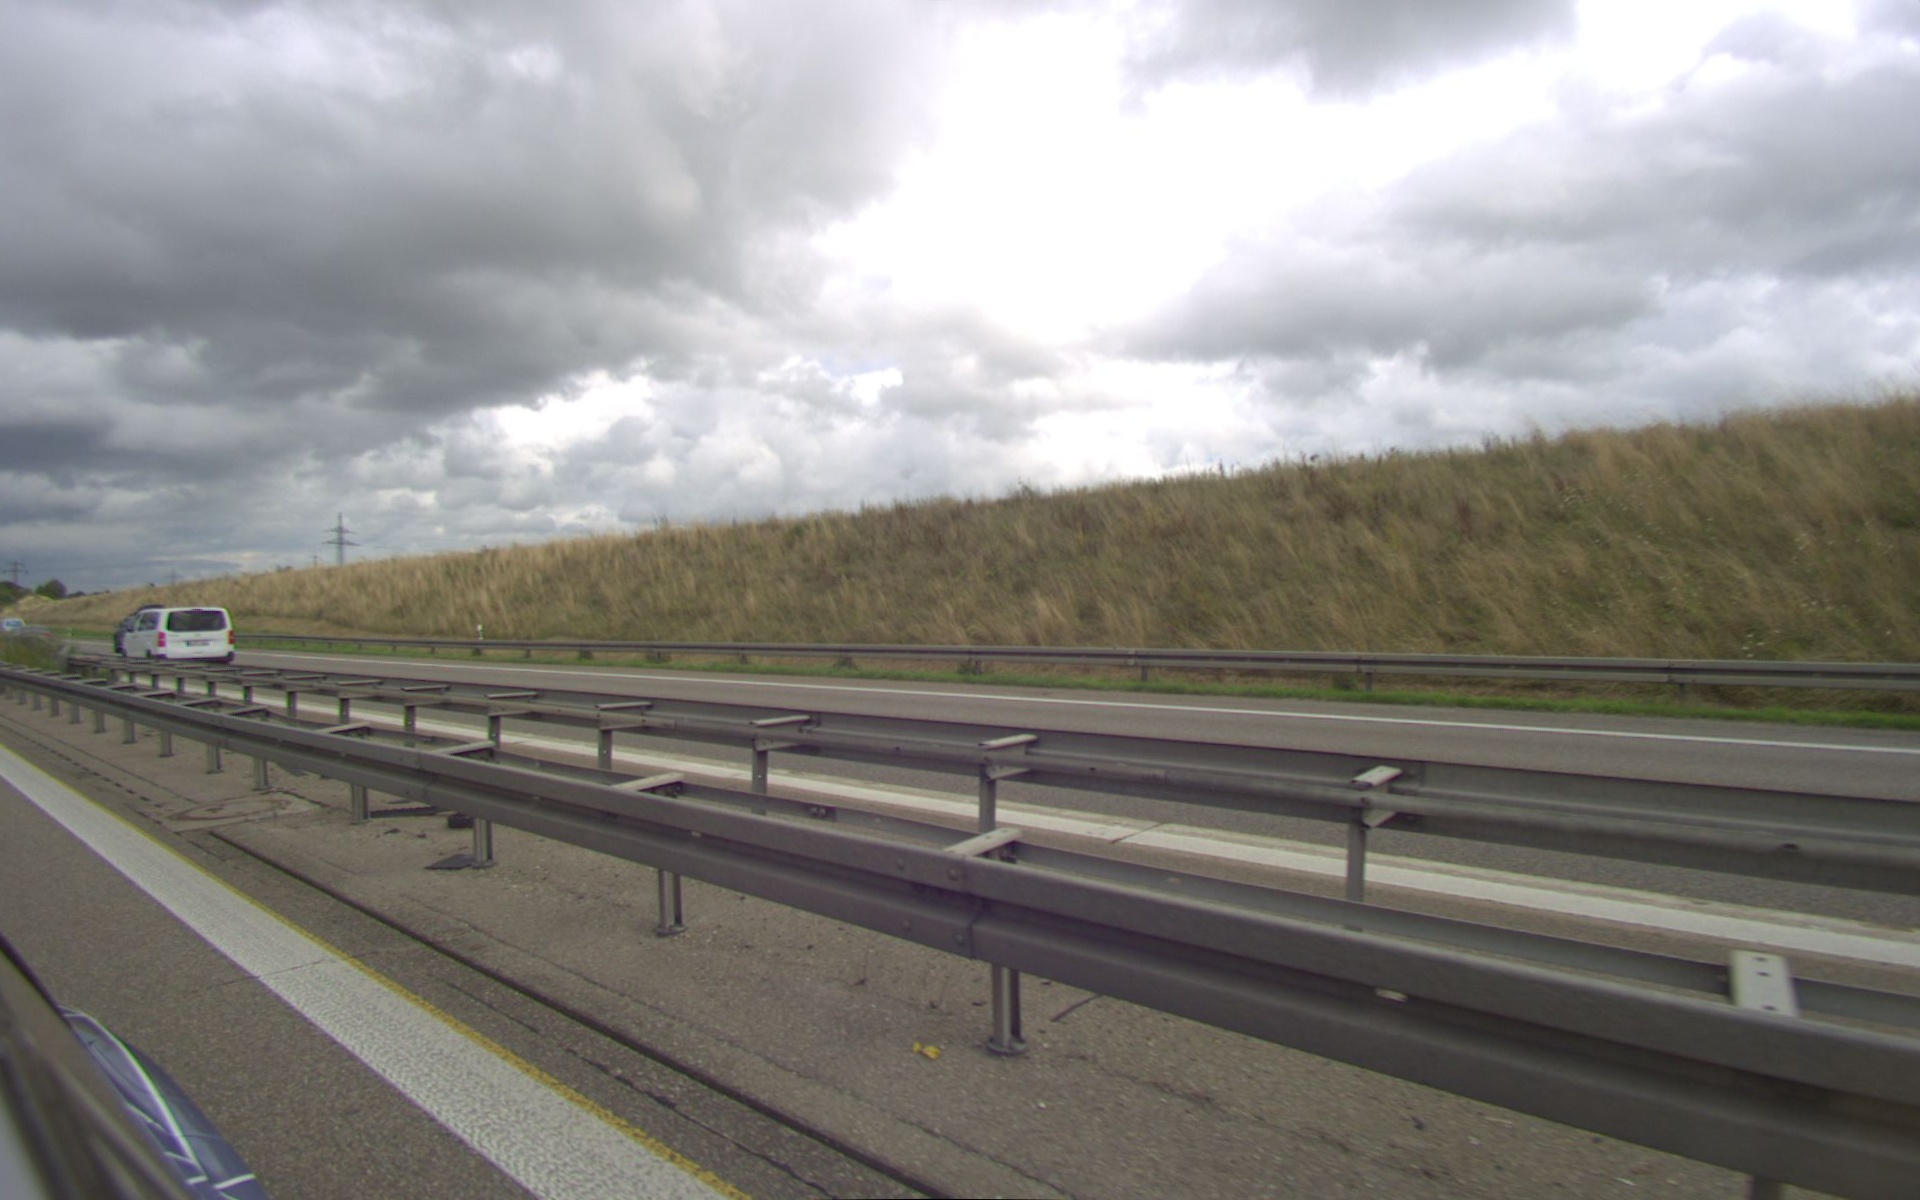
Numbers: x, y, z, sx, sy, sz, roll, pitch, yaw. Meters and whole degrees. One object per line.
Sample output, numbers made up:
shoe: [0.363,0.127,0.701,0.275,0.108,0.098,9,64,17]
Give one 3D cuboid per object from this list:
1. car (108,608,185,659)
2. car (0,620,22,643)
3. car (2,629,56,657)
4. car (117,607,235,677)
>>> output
car: [-38.866,1.541,48.294,5.717,2.259,1.972,-1,0,42]
car: [-88.536,2.900,93.739,4.706,2.029,1.972,-2,-1,42]
car: [-51.940,2.365,56.451,4.404,1.412,1.792,-1,0,42]
car: [-23.402,1.175,30.123,5.417,1.899,1.809,-1,0,42]
